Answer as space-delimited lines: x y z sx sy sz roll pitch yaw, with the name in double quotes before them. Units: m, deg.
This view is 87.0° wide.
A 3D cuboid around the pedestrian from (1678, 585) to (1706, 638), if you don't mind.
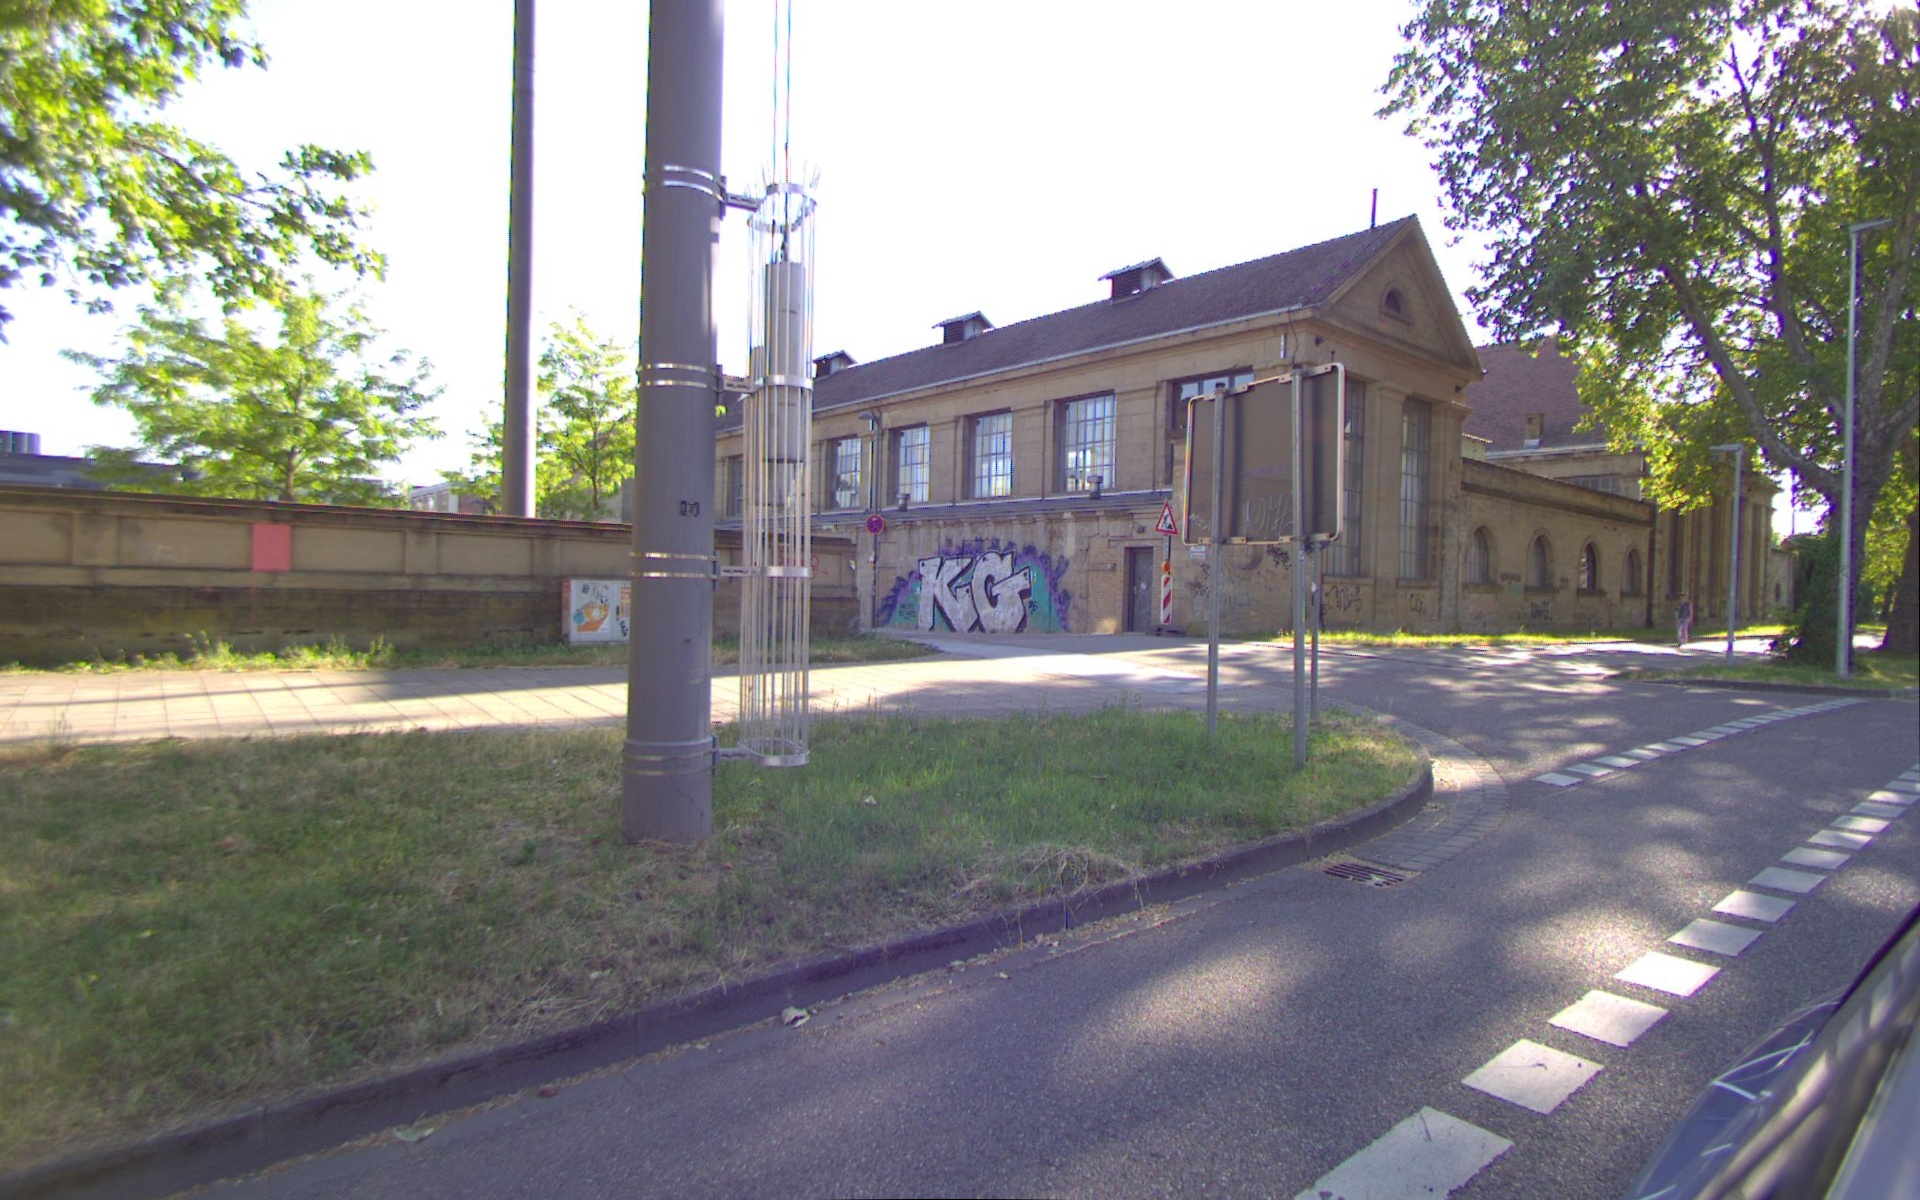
"pedestrian" 24.023 0.375 33.212 0.669 1.682 0.863 3 2 36
